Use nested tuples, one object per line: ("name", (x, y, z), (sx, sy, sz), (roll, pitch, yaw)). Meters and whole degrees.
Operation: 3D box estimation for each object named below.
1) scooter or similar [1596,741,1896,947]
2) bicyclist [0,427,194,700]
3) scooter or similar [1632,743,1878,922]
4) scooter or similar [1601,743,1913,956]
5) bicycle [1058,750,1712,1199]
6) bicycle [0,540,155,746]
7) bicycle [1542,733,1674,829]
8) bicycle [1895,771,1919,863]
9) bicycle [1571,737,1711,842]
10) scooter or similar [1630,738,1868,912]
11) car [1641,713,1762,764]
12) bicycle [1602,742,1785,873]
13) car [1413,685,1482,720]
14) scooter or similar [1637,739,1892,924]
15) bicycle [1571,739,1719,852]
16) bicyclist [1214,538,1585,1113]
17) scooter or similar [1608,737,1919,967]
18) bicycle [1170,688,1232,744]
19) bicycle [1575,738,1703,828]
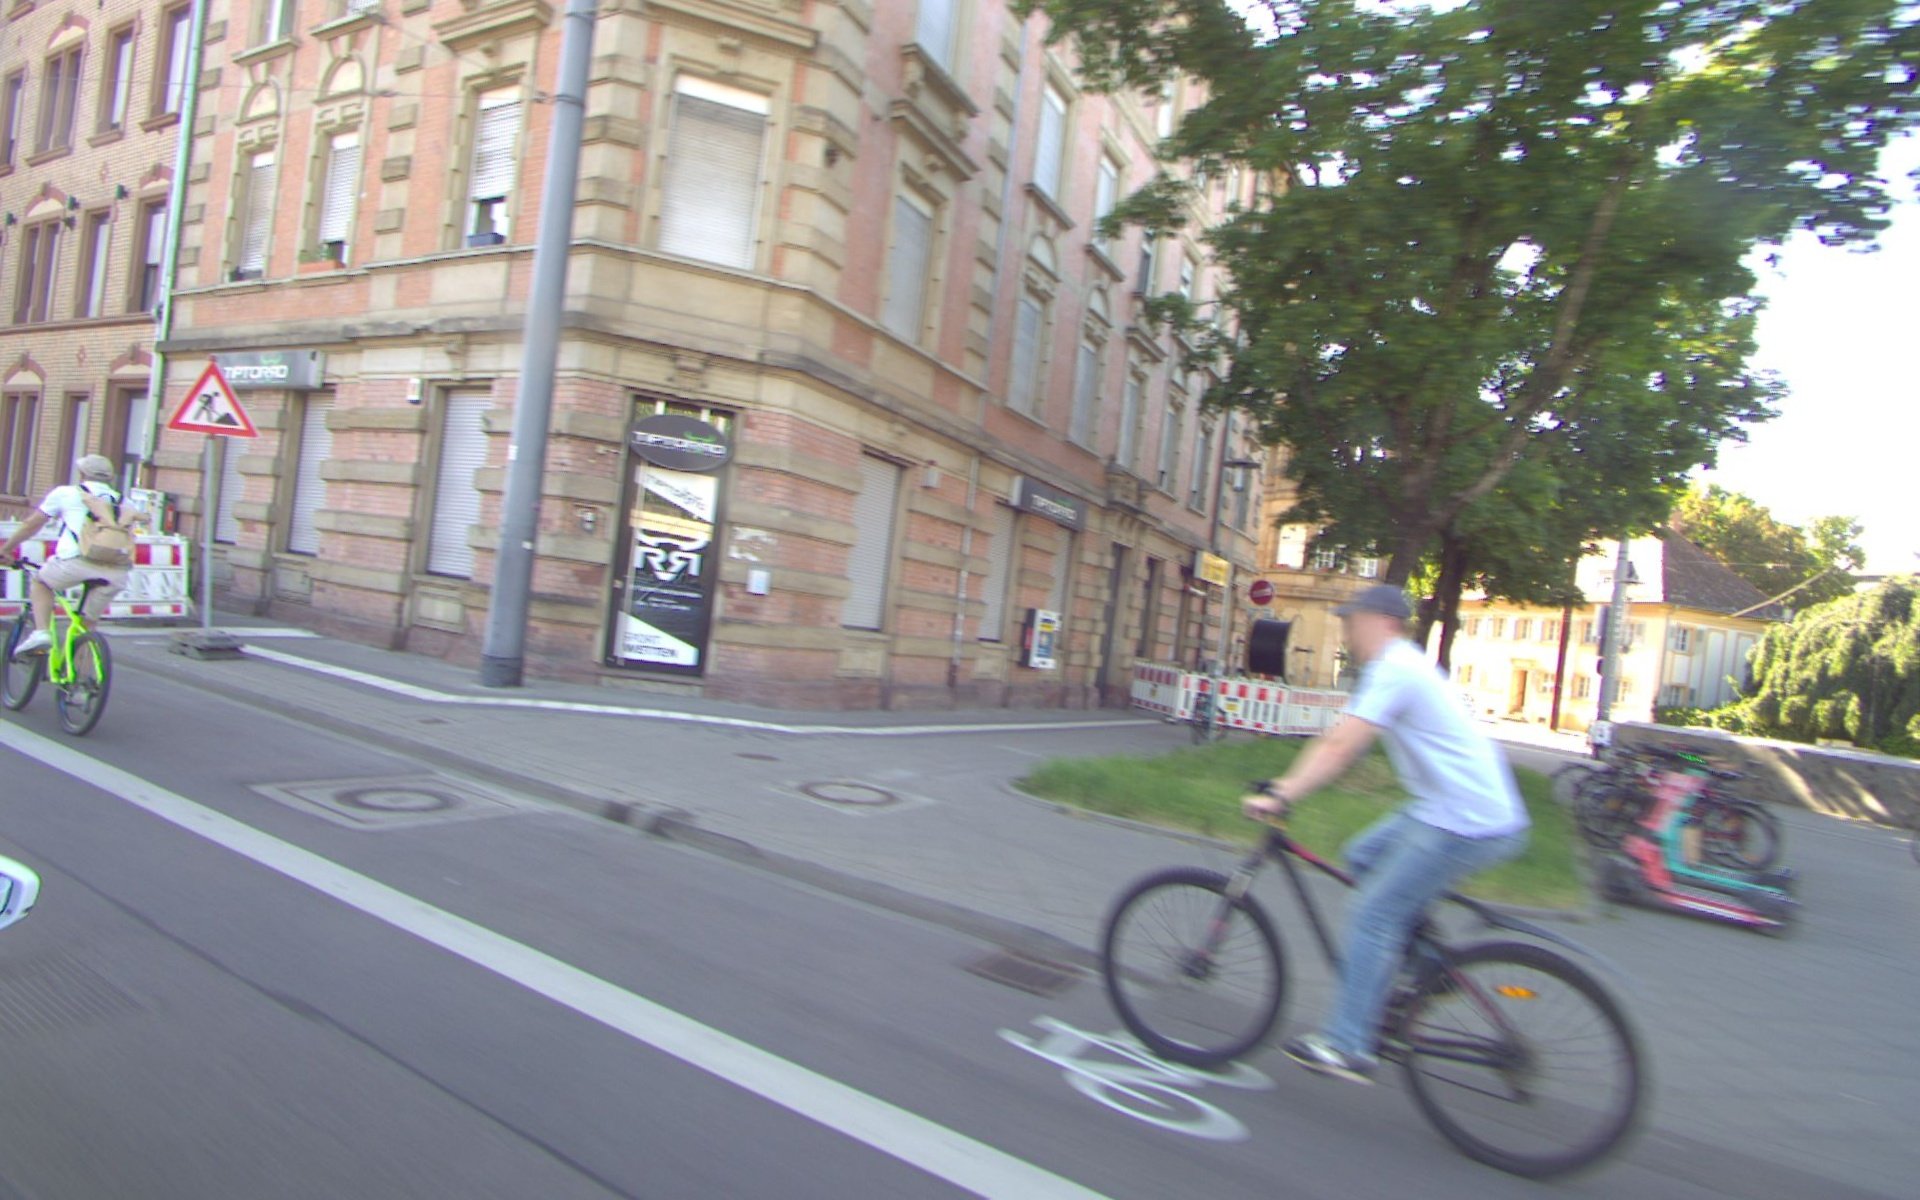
("scooter or similar", (5.884, 1.797, 7.636), (1.675, 1.176, 0.271), (6, -2, 31))
("bicyclist", (-6.035, -0.247, 6.885), (1.100, 1.702, 0.683), (6, -2, 28))
("scooter or similar", (6.781, 1.954, 8.658), (1.539, 1.198, 0.271), (6, -2, 31))
("scooter or similar", (5.760, 1.770, 7.373), (1.675, 1.170, 0.271), (6, -2, 31))
("bicycle", (1.350, 1.233, 3.507), (1.900, 1.082, 0.387), (7, 0, 29))
("bicycle", (-6.274, 0.250, 6.923), (1.903, 1.130, 0.532), (8, -1, 36))
("bicycle", (9.083, 2.521, 14.152), (1.436, 1.073, 0.404), (6, -2, 27))
("bicycle", (12.626, 2.810, 12.199), (0.524, 1.130, 1.933), (7, -1, -6))
("bicycle", (8.622, 2.392, 12.774), (1.326, 1.073, 0.405), (7, -2, 15))
("scooter or similar", (6.955, 1.957, 8.942), (1.539, 1.209, 0.271), (6, -2, 31))
("car", (34.361, 6.401, 46.755), (1.973, 1.636, 3.984), (8, -3, -20))
("bicycle", (7.757, 2.169, 10.705), (1.459, 1.073, 0.403), (6, -2, 36))
("car", (30.646, 6.419, 63.374), (1.887, 1.640, 3.813), (6, -1, -12))
("scooter or similar", (6.638, 1.879, 8.380), (1.539, 1.198, 0.271), (6, -2, 31))
("bicycle", (8.066, 2.284, 11.903), (1.329, 1.073, 0.404), (6, -2, 31))
("bicyclist", (1.509, 0.680, 3.482), (0.870, 1.611, 0.784), (8, -1, 28))
("scooter or similar", (5.644, 1.714, 7.102), (1.675, 1.233, 0.271), (6, -2, 31))
("bicycle", (4.089, 1.973, 17.004), (0.398, 0.866, 1.419), (6, -3, 37))
("bicycle", (10.083, 2.702, 14.976), (1.435, 1.073, 0.404), (7, -2, 24))
